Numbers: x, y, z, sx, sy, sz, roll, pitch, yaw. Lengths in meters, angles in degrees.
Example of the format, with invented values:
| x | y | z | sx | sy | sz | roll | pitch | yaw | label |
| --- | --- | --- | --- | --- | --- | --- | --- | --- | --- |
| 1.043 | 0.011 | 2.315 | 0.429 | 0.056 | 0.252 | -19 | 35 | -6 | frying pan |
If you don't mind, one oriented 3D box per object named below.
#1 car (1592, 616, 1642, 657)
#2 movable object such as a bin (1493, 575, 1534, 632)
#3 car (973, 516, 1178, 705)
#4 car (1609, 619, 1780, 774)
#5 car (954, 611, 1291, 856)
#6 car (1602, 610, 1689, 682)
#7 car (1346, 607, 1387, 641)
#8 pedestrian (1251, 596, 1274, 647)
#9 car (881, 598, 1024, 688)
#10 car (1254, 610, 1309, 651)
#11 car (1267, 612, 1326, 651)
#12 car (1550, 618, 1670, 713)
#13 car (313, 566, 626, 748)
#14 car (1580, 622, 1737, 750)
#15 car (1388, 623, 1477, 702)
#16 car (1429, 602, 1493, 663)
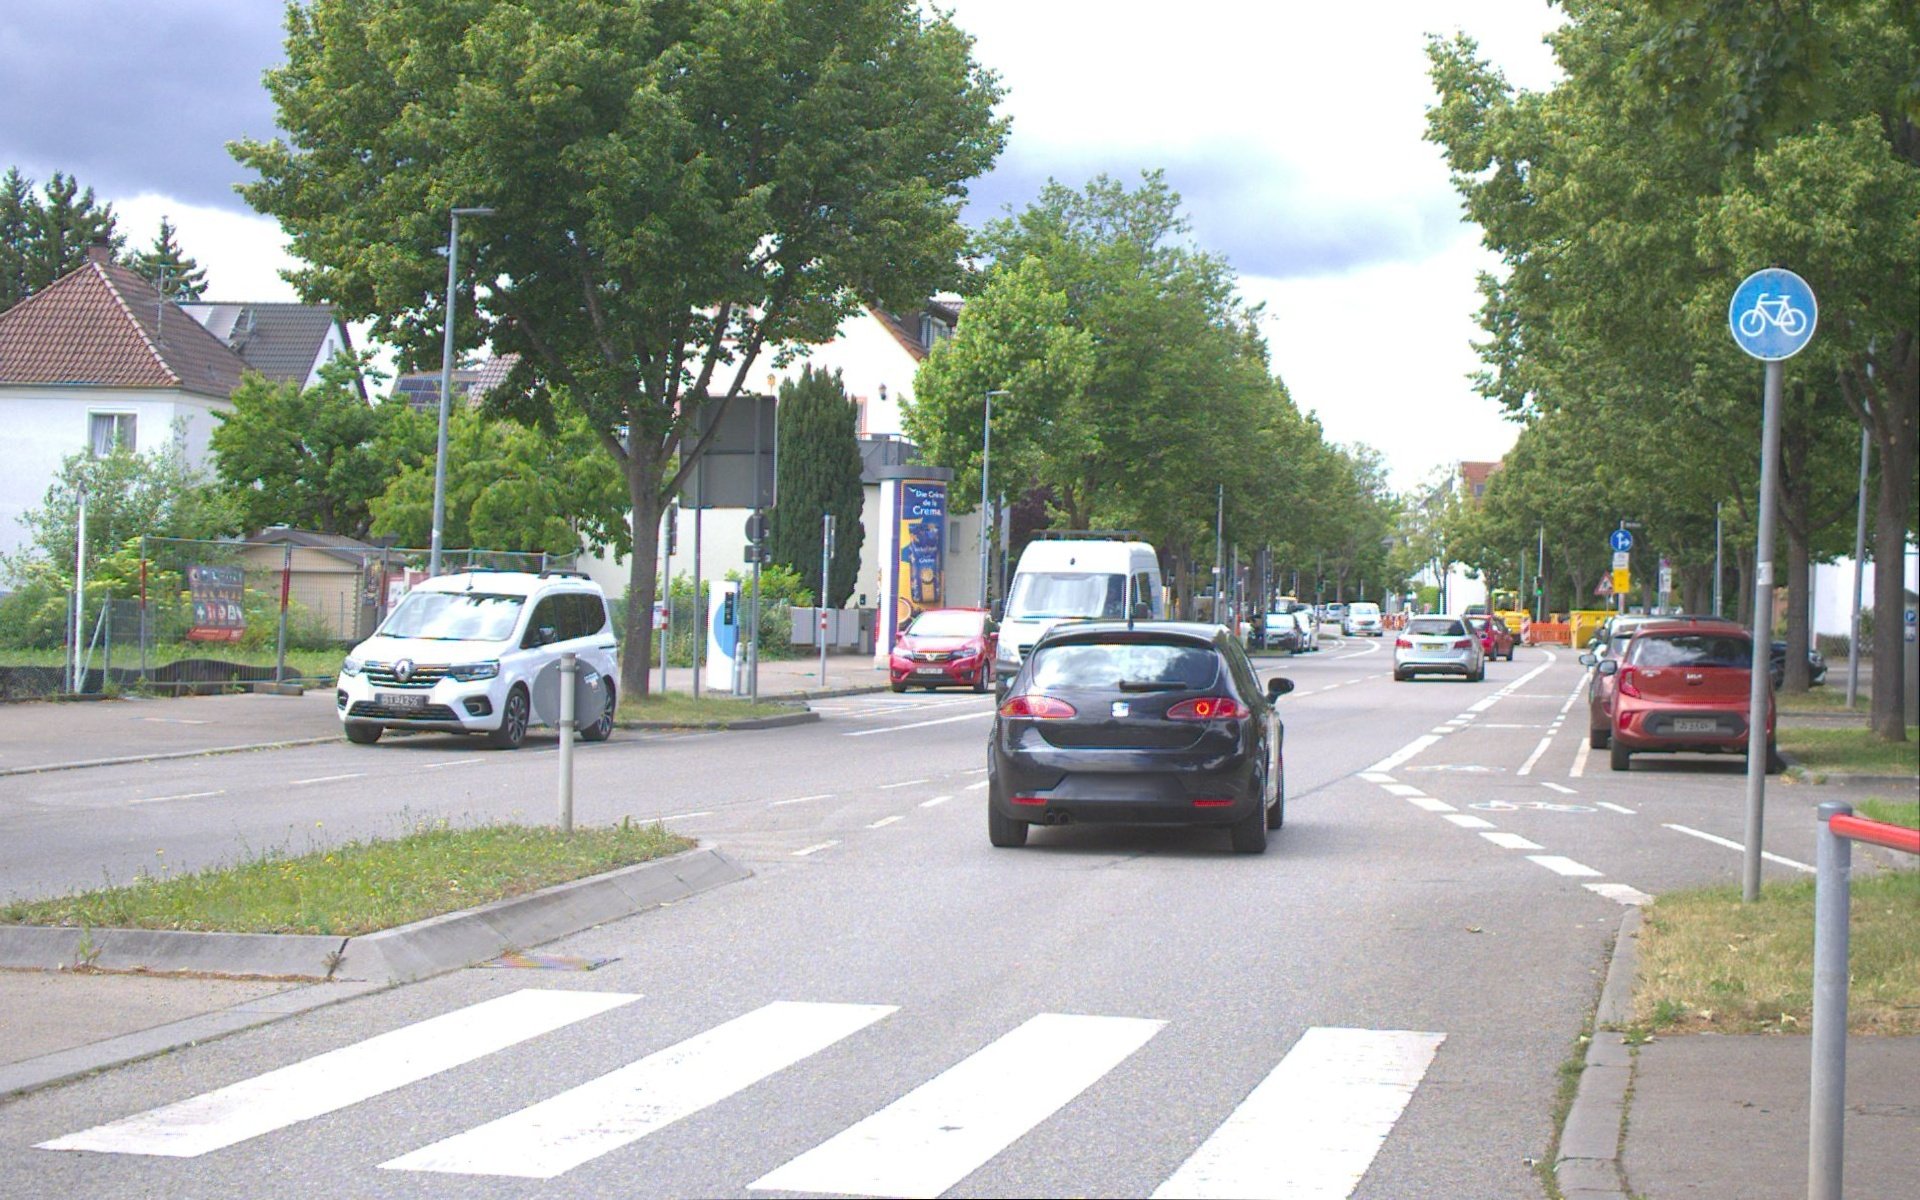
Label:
| x | y | z | sx | sy | sz | roll | pitch | yaw | label |
| --- | --- | --- | --- | --- | --- | --- | --- | --- | --- |
| 24.302 | 1.339 | 127.215 | 1.706 | 1.450 | 4.614 | 1 | 0 | 10 | car |
| 25.671 | 0.148 | 159.537 | 1.769 | 2.565 | 3.738 | 1 | 0 | 8 | movable object such as a bin |
| 1.843 | 0.159 | 52.371 | 2.020 | 2.665 | 5.802 | 1 | 0 | 13 | car |
| 7.404 | 0.959 | 34.896 | 1.566 | 1.450 | 3.666 | 1 | -1 | 11 | car |
| 1.143 | 0.797 | 22.398 | 1.819 | 1.433 | 3.738 | 1 | 0 | 8 | car |
| 15.641 | 1.032 | 78.560 | 1.722 | 1.575 | 4.059 | 1 | 0 | 9 | car |
| 22.945 | 1.338 | 193.918 | 1.967 | 1.824 | 4.816 | 1 | 0 | 11 | car |
| 10.037 | 0.714 | 114.050 | 0.543 | 1.675 | 0.749 | 3 | 1 | 19 | pedestrian |
| -0.091 | 0.762 | 62.229 | 1.686 | 1.536 | 4.129 | 1 | 0 | 13 | car |
| 11.368 | 1.079 | 121.330 | 1.643 | 1.415 | 4.018 | 1 | 0 | 10 | car |
| 12.553 | 1.153 | 128.092 | 1.715 | 1.402 | 4.297 | 1 | 0 | 12 | car |
| 10.799 | 1.065 | 57.337 | 1.806 | 1.470 | 4.810 | 1 | 0 | 9 | car |
| -5.129 | 0.572 | 36.595 | 1.771 | 1.764 | 4.548 | 1 | 0 | 13 | car |
| 8.241 | 0.979 | 40.787 | 1.653 | 1.411 | 4.175 | 0 | 0 | 9 | car |
| 10.545 | 1.372 | 76.645 | 1.906 | 1.680 | 3.738 | 1 | 0 | 8 | car |
| 16.017 | 1.032 | 110.015 | 1.908 | 1.875 | 3.999 | 2 | 0 | 8 | car |
